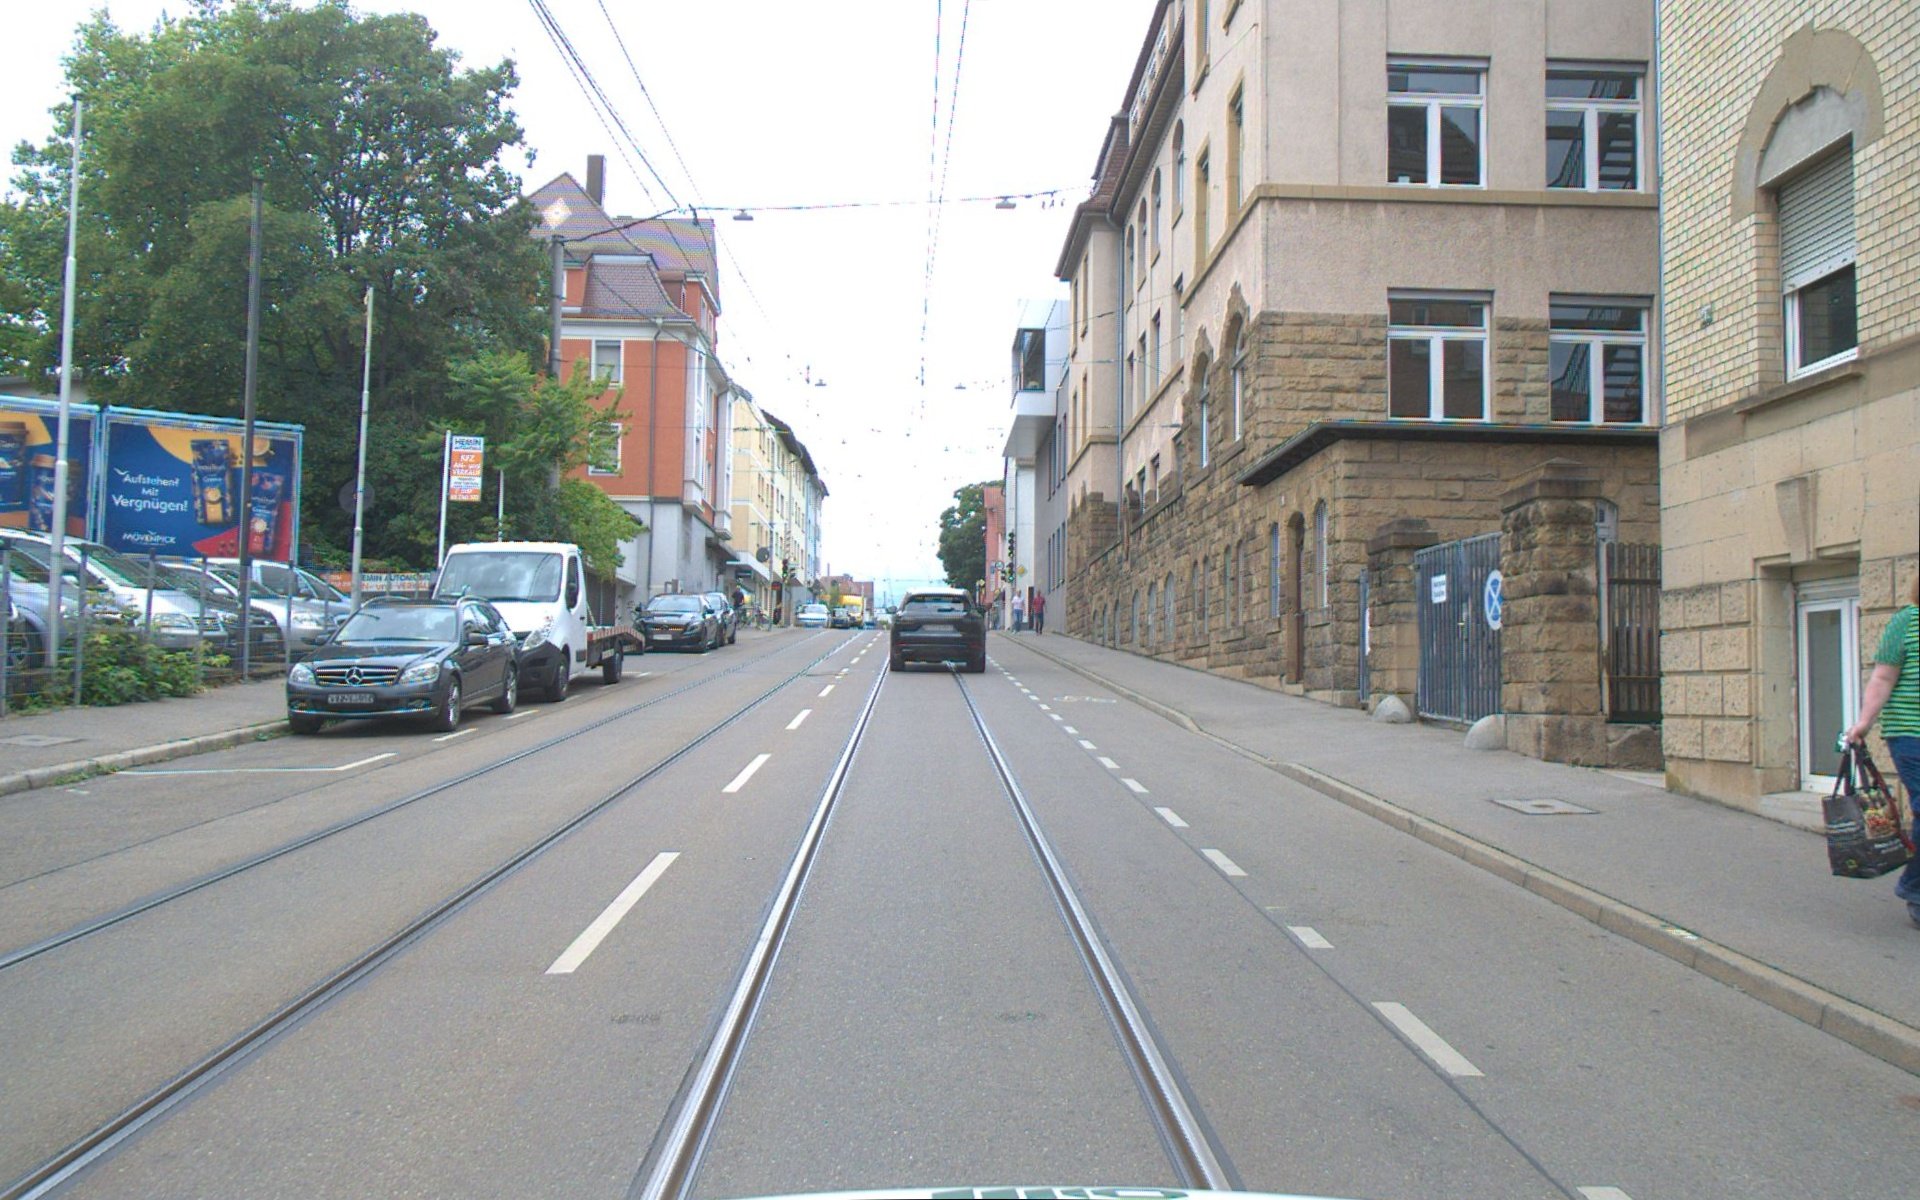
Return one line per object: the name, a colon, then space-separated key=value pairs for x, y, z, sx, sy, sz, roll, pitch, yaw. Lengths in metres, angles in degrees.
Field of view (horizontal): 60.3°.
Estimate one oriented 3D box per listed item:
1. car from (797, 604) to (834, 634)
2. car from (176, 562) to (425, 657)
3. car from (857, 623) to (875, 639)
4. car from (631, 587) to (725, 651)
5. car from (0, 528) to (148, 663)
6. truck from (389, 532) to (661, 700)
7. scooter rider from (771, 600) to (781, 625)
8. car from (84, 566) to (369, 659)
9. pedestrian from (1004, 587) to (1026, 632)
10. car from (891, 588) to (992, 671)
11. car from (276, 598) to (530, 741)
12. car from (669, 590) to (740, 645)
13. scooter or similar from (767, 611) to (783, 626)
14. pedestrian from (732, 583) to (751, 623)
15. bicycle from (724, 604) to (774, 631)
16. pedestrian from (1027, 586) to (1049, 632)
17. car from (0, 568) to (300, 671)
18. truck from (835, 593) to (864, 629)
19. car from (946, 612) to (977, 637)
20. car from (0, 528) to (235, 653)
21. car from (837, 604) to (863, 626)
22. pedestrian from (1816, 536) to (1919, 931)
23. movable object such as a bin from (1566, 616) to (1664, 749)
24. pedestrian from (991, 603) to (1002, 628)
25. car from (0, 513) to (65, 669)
car: x=-8.245 y=1.072 z=94.457 sx=1.817 sy=1.635 sz=4.295 roll=1 pitch=0 yaw=-2
car: x=-11.576 y=0.174 z=29.290 sx=3.896 sy=1.578 sz=1.681 roll=1 pitch=0 yaw=-17
car: x=-10.349 y=3.440 z=181.988 sx=1.817 sy=1.635 sz=4.295 roll=1 pitch=0 yaw=-2
car: x=-6.985 y=0.449 z=41.328 sx=1.677 sy=1.472 sz=4.288 roll=1 pitch=0 yaw=-1
car: x=-11.757 y=-0.077 z=19.006 sx=3.978 sy=1.470 sz=1.687 roll=1 pitch=0 yaw=-2
truck: x=-6.569 y=0.215 z=26.236 sx=2.234 sy=2.226 sz=8.024 roll=1 pitch=0 yaw=-1
scooter rider: x=-12.157 y=0.836 z=109.457 sx=0.635 sy=1.613 sz=0.765 roll=1 pitch=0 yaw=-6
car: x=-11.712 y=0.192 z=26.597 sx=3.798 sy=1.381 sz=1.687 roll=1 pitch=0 yaw=-2
pedestrian: x=2.086 y=0.364 z=62.962 sx=0.775 sy=1.696 sz=0.799 roll=1 pitch=0 yaw=1
car: x=-0.391 y=0.574 z=34.500 sx=1.953 sy=1.590 sz=4.288 roll=1 pitch=0 yaw=-1
car: x=-6.391 y=0.718 z=19.492 sx=1.663 sy=1.458 sz=4.478 roll=-1 pitch=0 yaw=-3
car: x=-7.178 y=0.470 z=46.770 sx=1.484 sy=1.472 sz=3.709 roll=1 pitch=0 yaw=-1
scooter or similar: x=-12.222 y=1.226 z=109.441 sx=1.007 sy=0.935 sz=0.472 roll=1 pitch=0 yaw=-6
pedestrian: x=-9.836 y=0.139 z=74.536 sx=0.759 sy=1.807 sz=0.650 roll=1 pitch=0 yaw=-1
bicycle: x=-8.272 y=0.689 z=64.779 sx=1.872 sy=1.017 sz=0.479 roll=1 pitch=0 yaw=-1
pedestrian: x=2.958 y=0.337 z=62.926 sx=0.775 sy=1.696 sz=0.799 roll=1 pitch=0 yaw=1
car: x=-11.834 y=0.273 z=23.998 sx=3.798 sy=1.381 sz=1.687 roll=1 pitch=0 yaw=-2
truck: x=-9.790 y=0.989 z=147.186 sx=2.256 sy=3.090 sz=9.030 roll=1 pitch=0 yaw=-2
car: x=0.086 y=1.678 z=112.651 sx=1.953 sy=1.590 sz=4.288 roll=1 pitch=0 yaw=-1
car: x=-11.789 y=-0.134 z=21.452 sx=3.978 sy=1.520 sz=1.687 roll=1 pitch=0 yaw=-2
car: x=-8.463 y=1.122 z=127.094 sx=1.817 sy=1.635 sz=4.295 roll=1 pitch=0 yaw=-2
pedestrian: x=4.410 y=0.575 z=7.444 sx=0.852 sy=1.715 sz=0.663 roll=-1 pitch=0 yaw=17
movable object such as a bin: x=6.298 y=0.783 z=15.920 sx=0.680 sy=1.239 sz=0.605 roll=1 pitch=0 yaw=-2
pedestrian: x=2.502 y=1.078 z=113.896 sx=0.775 sy=1.696 sz=0.799 roll=1 pitch=0 yaw=1
car: x=-11.540 y=-0.126 z=16.717 sx=3.978 sy=1.550 sz=1.738 roll=1 pitch=0 yaw=-2
